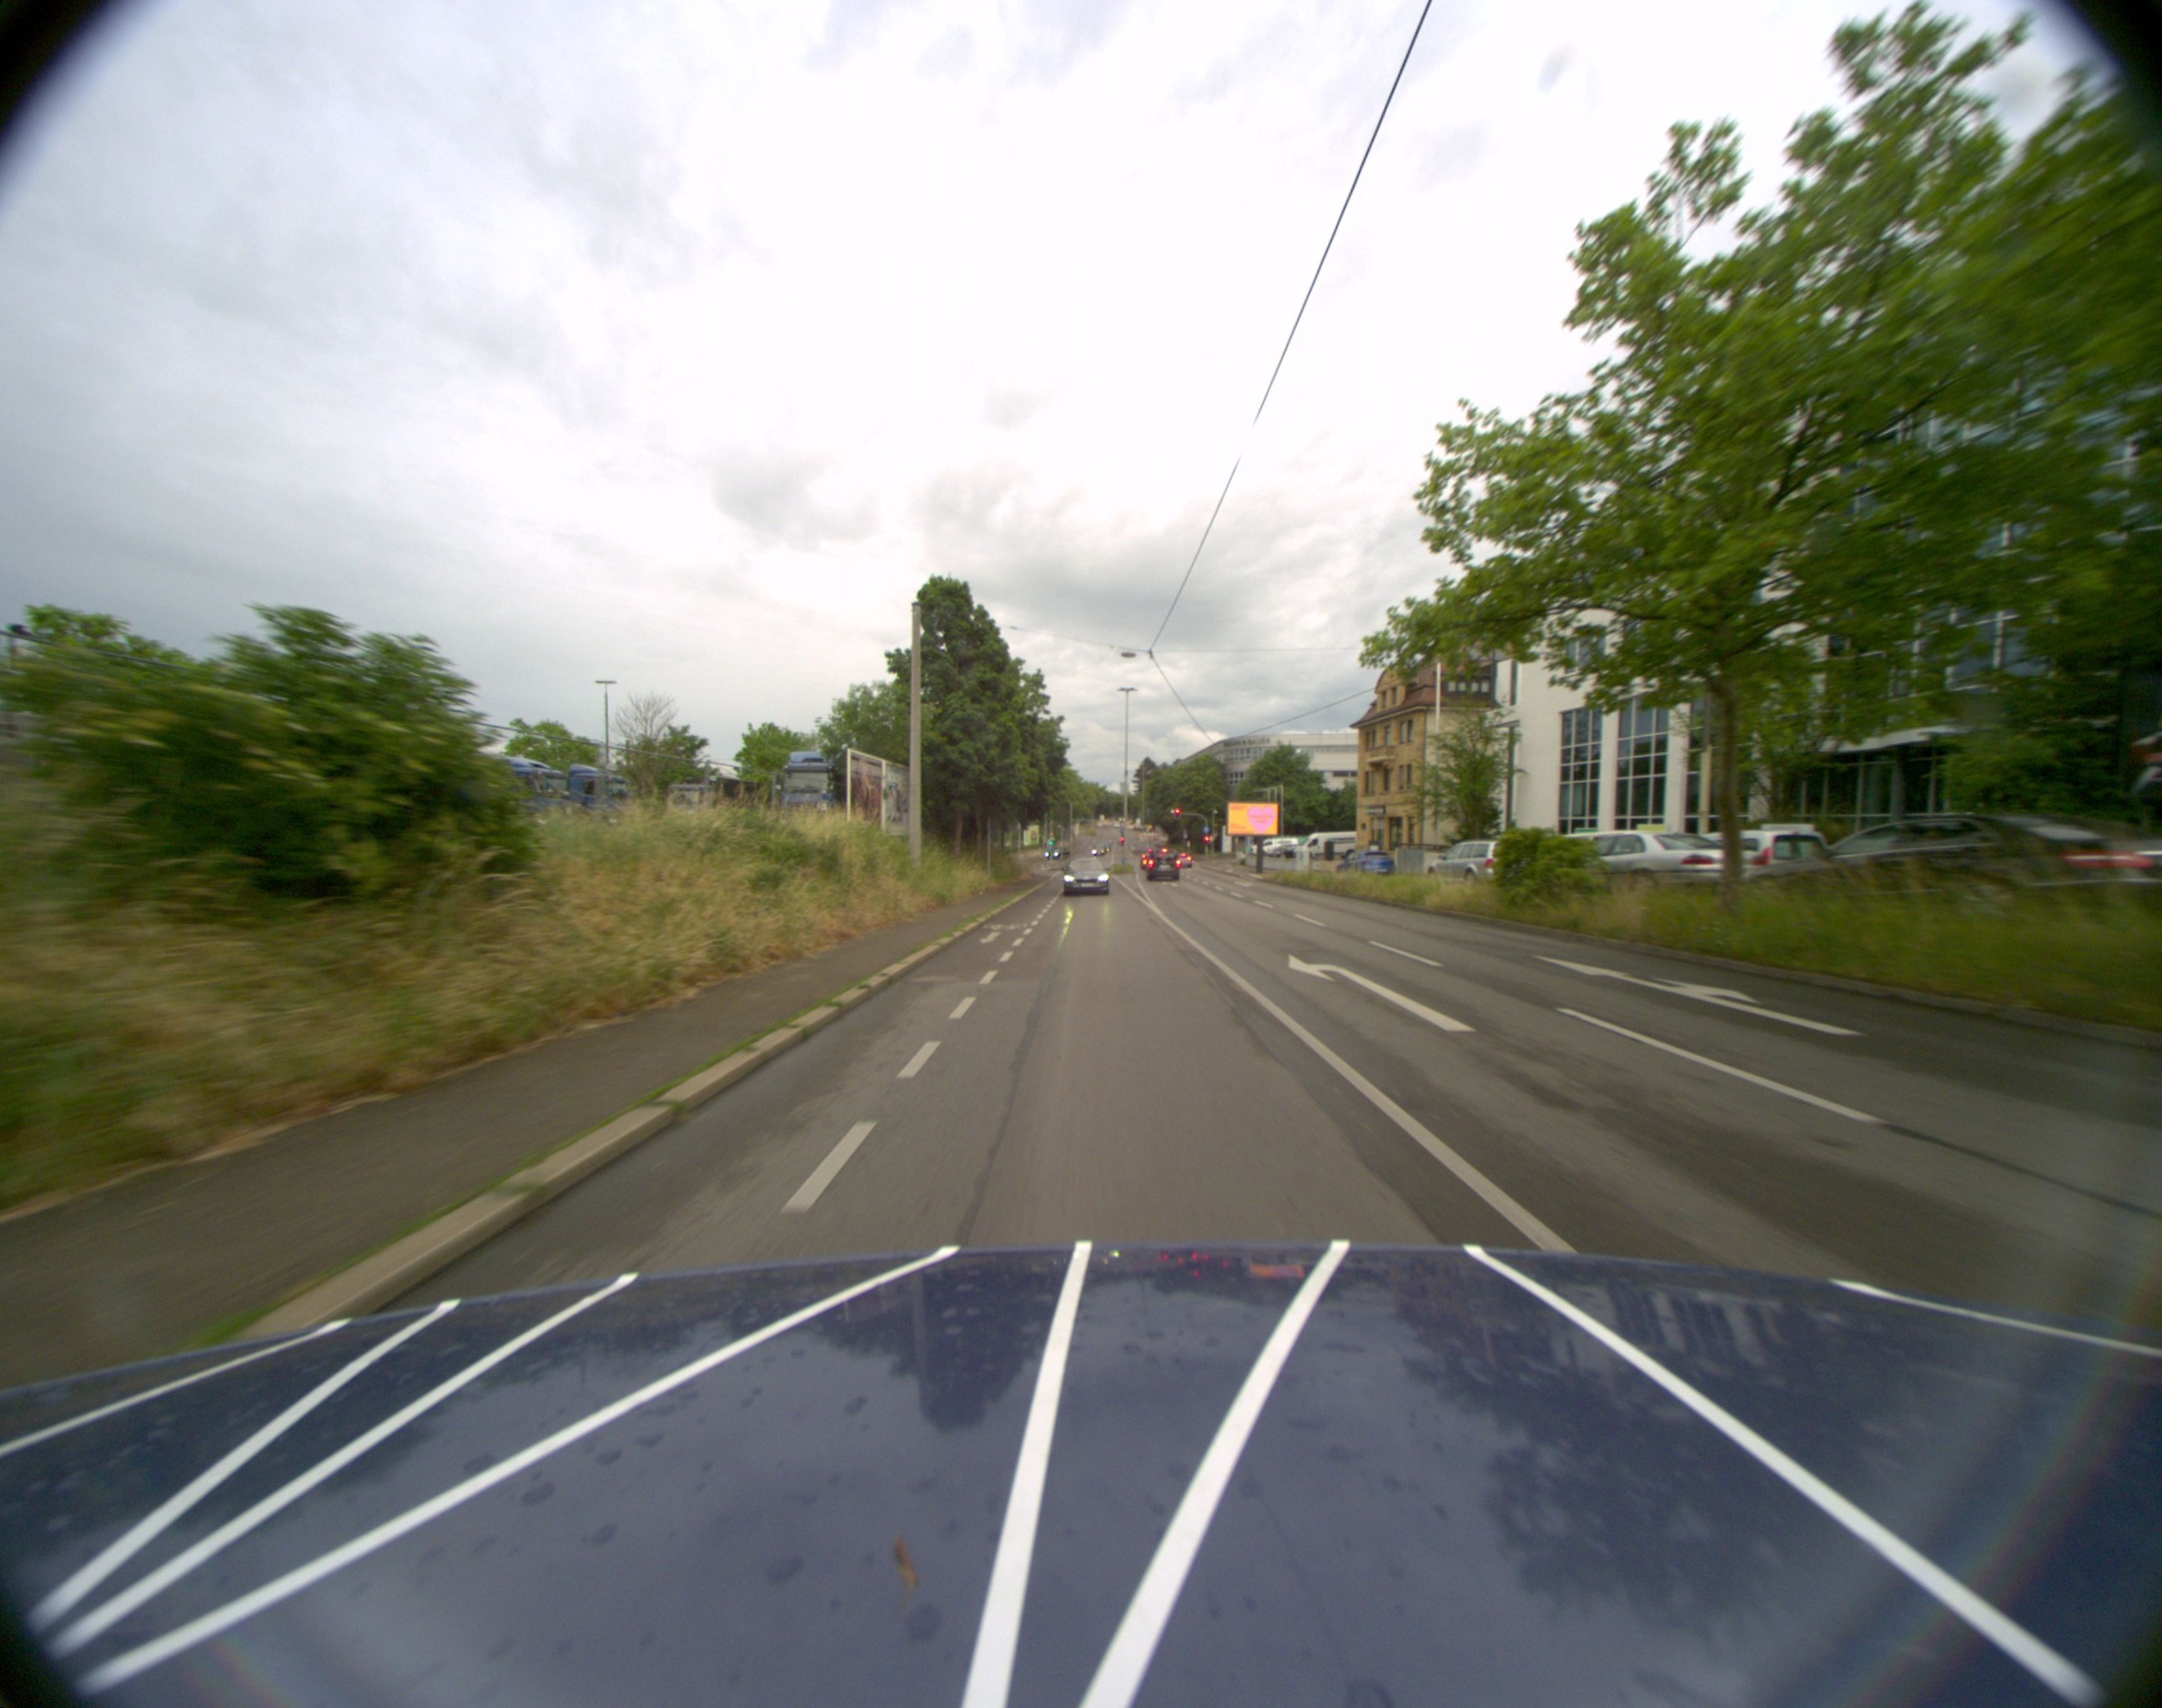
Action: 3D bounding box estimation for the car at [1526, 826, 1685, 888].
[{"bbox_3d":[16.194,0.106,23.805,1.775,1.735,4.583,1,0,-1],"label":"car"}]

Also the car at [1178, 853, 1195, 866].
[{"bbox_3d":[10.774,0.536,77.465,1.380,1.216,2.452,0,3,0],"label":"car"}]

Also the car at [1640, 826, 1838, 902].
[{"bbox_3d":[16.080,0.227,18.861,1.596,1.685,3.781,1,0,-1],"label":"car"}]

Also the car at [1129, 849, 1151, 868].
[{"bbox_3d":[5.414,0.381,70.305,1.810,1.522,4.440,0,3,1],"label":"car"}]

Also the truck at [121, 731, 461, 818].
[{"bbox_3d":[-25.497,-2.507,24.838,8.112,2.640,2.585,0,3,-2],"label":"truck"}]

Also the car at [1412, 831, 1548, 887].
[{"bbox_3d":[11.501,0.158,22.272,1.651,1.469,4.444,1,0,0],"label":"car"}]

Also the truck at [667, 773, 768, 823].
[{"bbox_3d":[-25.448,-3.810,53.841,2.256,3.178,9.637,-1,3,1],"label":"truck"}]

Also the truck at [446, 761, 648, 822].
[{"bbox_3d":[-25.675,-2.968,36.811,7.757,2.800,2.585,0,3,-2],"label":"truck"}]

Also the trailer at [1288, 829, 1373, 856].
[{"bbox_3d":[23.332,-1.104,71.189,7.115,2.415,2.394,0,3,0],"label":"trailer"}]

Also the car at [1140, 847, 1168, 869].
[{"bbox_3d":[5.886,0.283,61.573,1.959,1.687,4.625,0,1,2],"label":"car"}]

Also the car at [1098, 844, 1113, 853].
[{"bbox_3d":[3.764,-0.861,116.414,1.595,1.253,3.758,-2,3,14],"label":"car"}]

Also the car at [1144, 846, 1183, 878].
[{"bbox_3d":[5.009,0.449,46.721,2.019,1.856,5.041,0,1,2],"label":"car"}]

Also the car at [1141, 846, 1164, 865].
[{"bbox_3d":[7.138,0.145,76.392,1.938,1.808,5.170,0,1,2],"label":"car"}]

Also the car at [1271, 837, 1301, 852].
[{"bbox_3d":[21.018,-0.966,78.043,2.684,1.417,1.227,-2,2,2],"label":"car"}]

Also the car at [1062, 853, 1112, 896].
[{"bbox_3d":[0.258,0.764,30.649,1.811,1.509,4.052,-2,0,0],"label":"car"}]

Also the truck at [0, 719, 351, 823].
[{"bbox_3d":[-25.450,-2.179,20.715,8.319,2.602,2.585,0,3,-2],"label":"truck"}]

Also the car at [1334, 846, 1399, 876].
[{"bbox_3d":[15.353,0.396,41.139,1.692,1.525,4.671,1,0,-1],"label":"car"}]

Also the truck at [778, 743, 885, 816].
[{"bbox_3d":[-10.687,-3.120,33.178,2.290,2.636,6.050,-5,3,1],"label":"truck"}]

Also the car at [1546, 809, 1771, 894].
[{"bbox_3d":[11.729,-0.032,15.816,1.596,1.531,3.992,1,0,-1],"label":"car"}]

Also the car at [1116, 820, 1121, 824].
[{"bbox_3d":[11.656,-9.929,237.325,1.532,1.308,3.230,1,3,5],"label":"car"}]

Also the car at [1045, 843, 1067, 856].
[{"bbox_3d":[-3.597,-0.625,109.765,1.950,1.535,4.213,-2,3,14],"label":"car"}]

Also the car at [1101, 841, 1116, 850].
[{"bbox_3d":[4.763,-1.461,129.494,1.750,1.363,3.758,-2,3,14],"label":"car"}]

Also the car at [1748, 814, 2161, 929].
[{"bbox_3d":[11.444,0.173,9.979,1.702,1.198,4.219,0,0,1],"label":"car"}]

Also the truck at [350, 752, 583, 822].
[{"bbox_3d":[-26.324,-2.833,32.821,7.730,2.841,2.585,0,3,-2],"label":"truck"}]

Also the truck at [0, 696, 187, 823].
[{"bbox_3d":[-25.666,-2.027,16.926,8.022,2.604,2.629,0,3,-2],"label":"truck"}]

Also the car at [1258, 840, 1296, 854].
[{"bbox_3d":[20.854,-0.747,80.797,3.620,1.361,1.741,-2,2,2],"label":"car"}]

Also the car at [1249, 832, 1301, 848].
[{"bbox_3d":[22.506,-1.608,88.306,5.371,1.792,2.218,0,3,-6],"label":"car"}]
